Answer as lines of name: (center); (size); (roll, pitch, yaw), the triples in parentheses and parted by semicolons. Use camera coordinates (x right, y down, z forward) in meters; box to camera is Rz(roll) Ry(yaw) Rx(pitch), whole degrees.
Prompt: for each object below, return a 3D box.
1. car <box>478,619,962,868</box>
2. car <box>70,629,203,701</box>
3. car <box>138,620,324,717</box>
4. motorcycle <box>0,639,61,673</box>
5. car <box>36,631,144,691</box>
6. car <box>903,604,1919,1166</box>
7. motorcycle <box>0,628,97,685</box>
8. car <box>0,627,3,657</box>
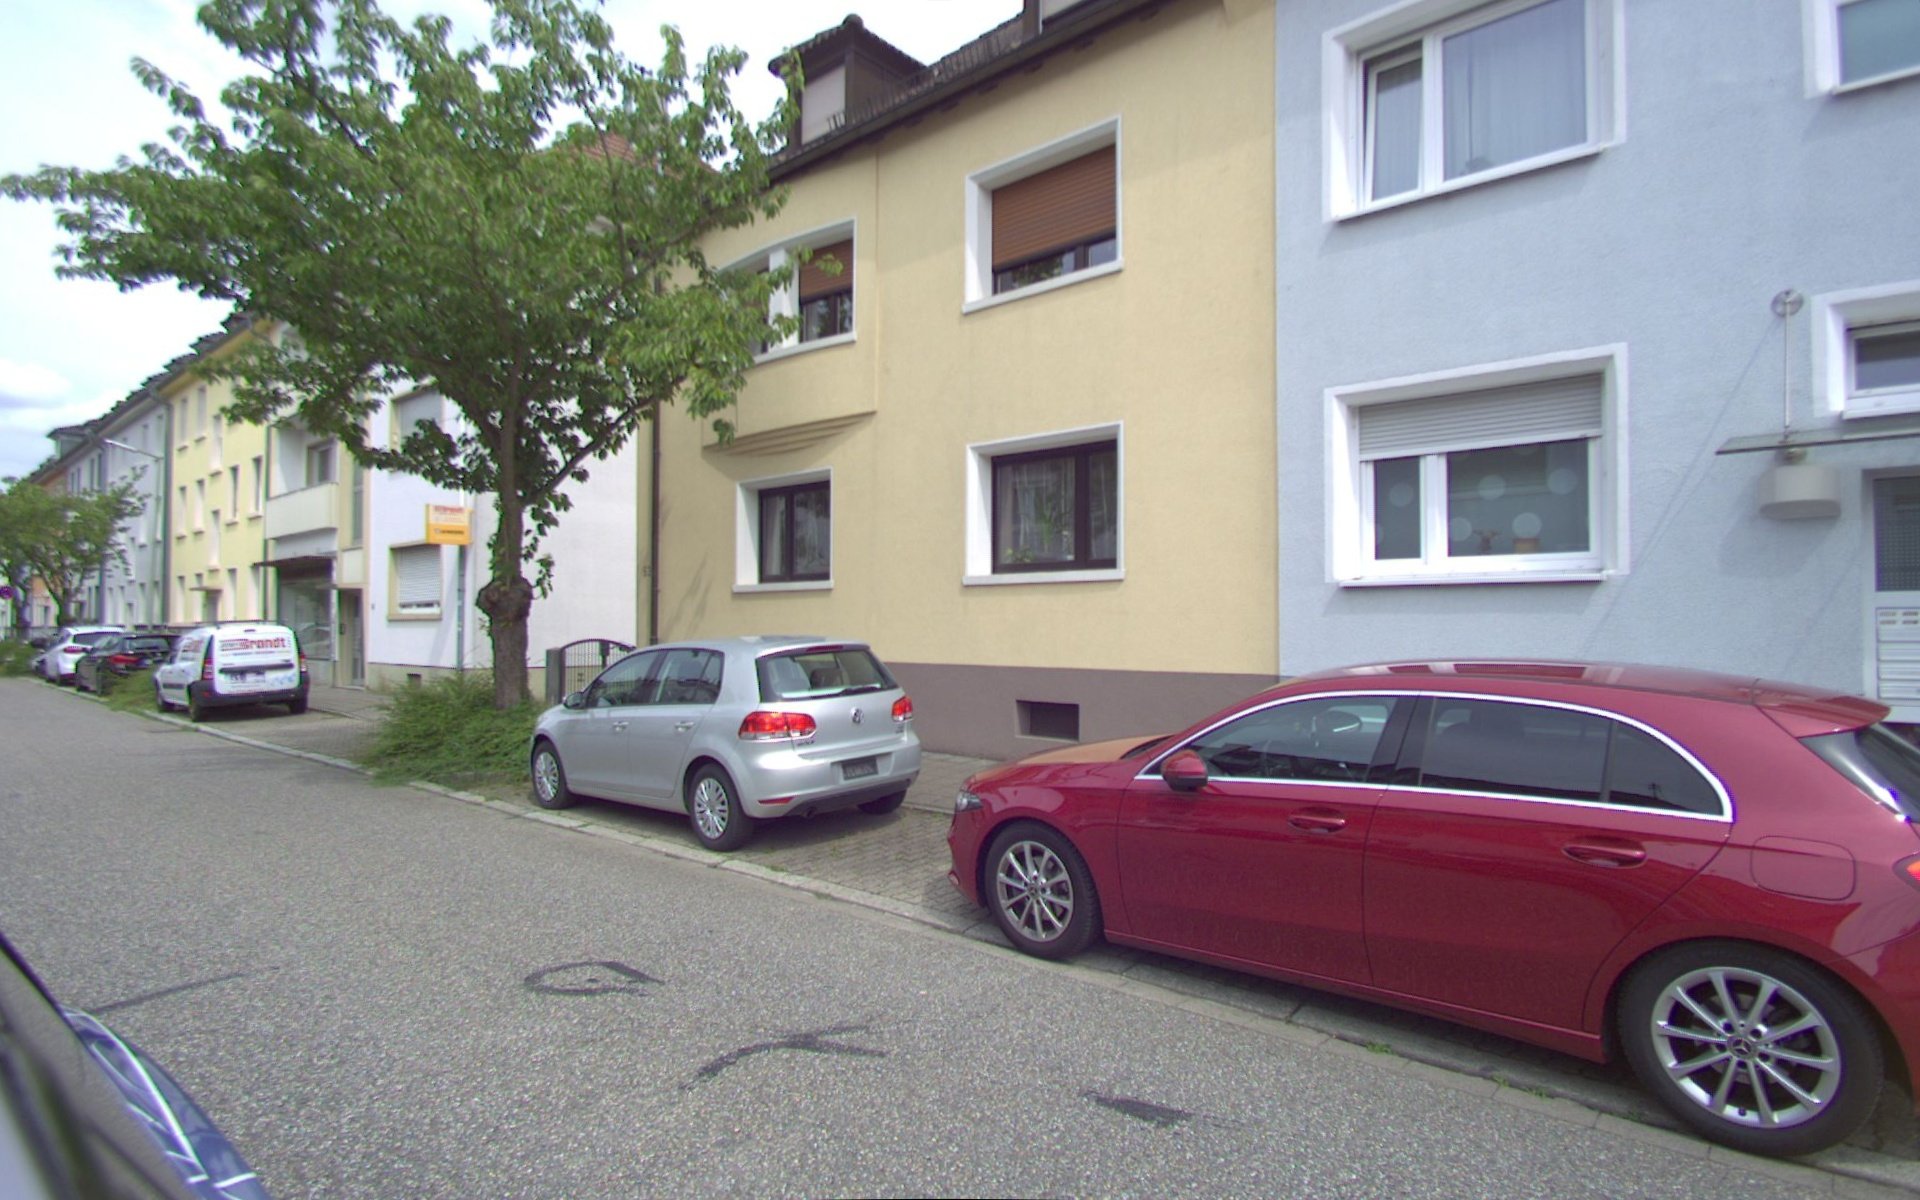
car: (-2.182, 0.958, 8.427); (4.274, 1.402, 1.753); (-2, 3, 43)
car: (-19.747, 1.477, 24.184); (4.811, 1.503, 1.771); (-1, -1, 42)
car: (-13.692, 1.230, 18.919); (4.381, 1.593, 1.898); (-2, -4, 42)
motorcycle: (-33.346, 1.994, 36.060); (0.591, 1.201, 1.902); (0, -3, 15)
car: (-24.581, 1.674, 28.550); (4.254, 1.568, 1.738); (-2, -3, 42)
car: (2.000, 0.844, 4.500); (4.511, 1.497, 1.857); (-2, -4, 42)
motorcycle: (-28.060, 1.727, 30.954); (2.438, 1.689, 0.939); (0, -3, -1)
car: (-50.247, 2.152, 51.469); (4.117, 1.495, 1.818); (-1, 1, 40)
